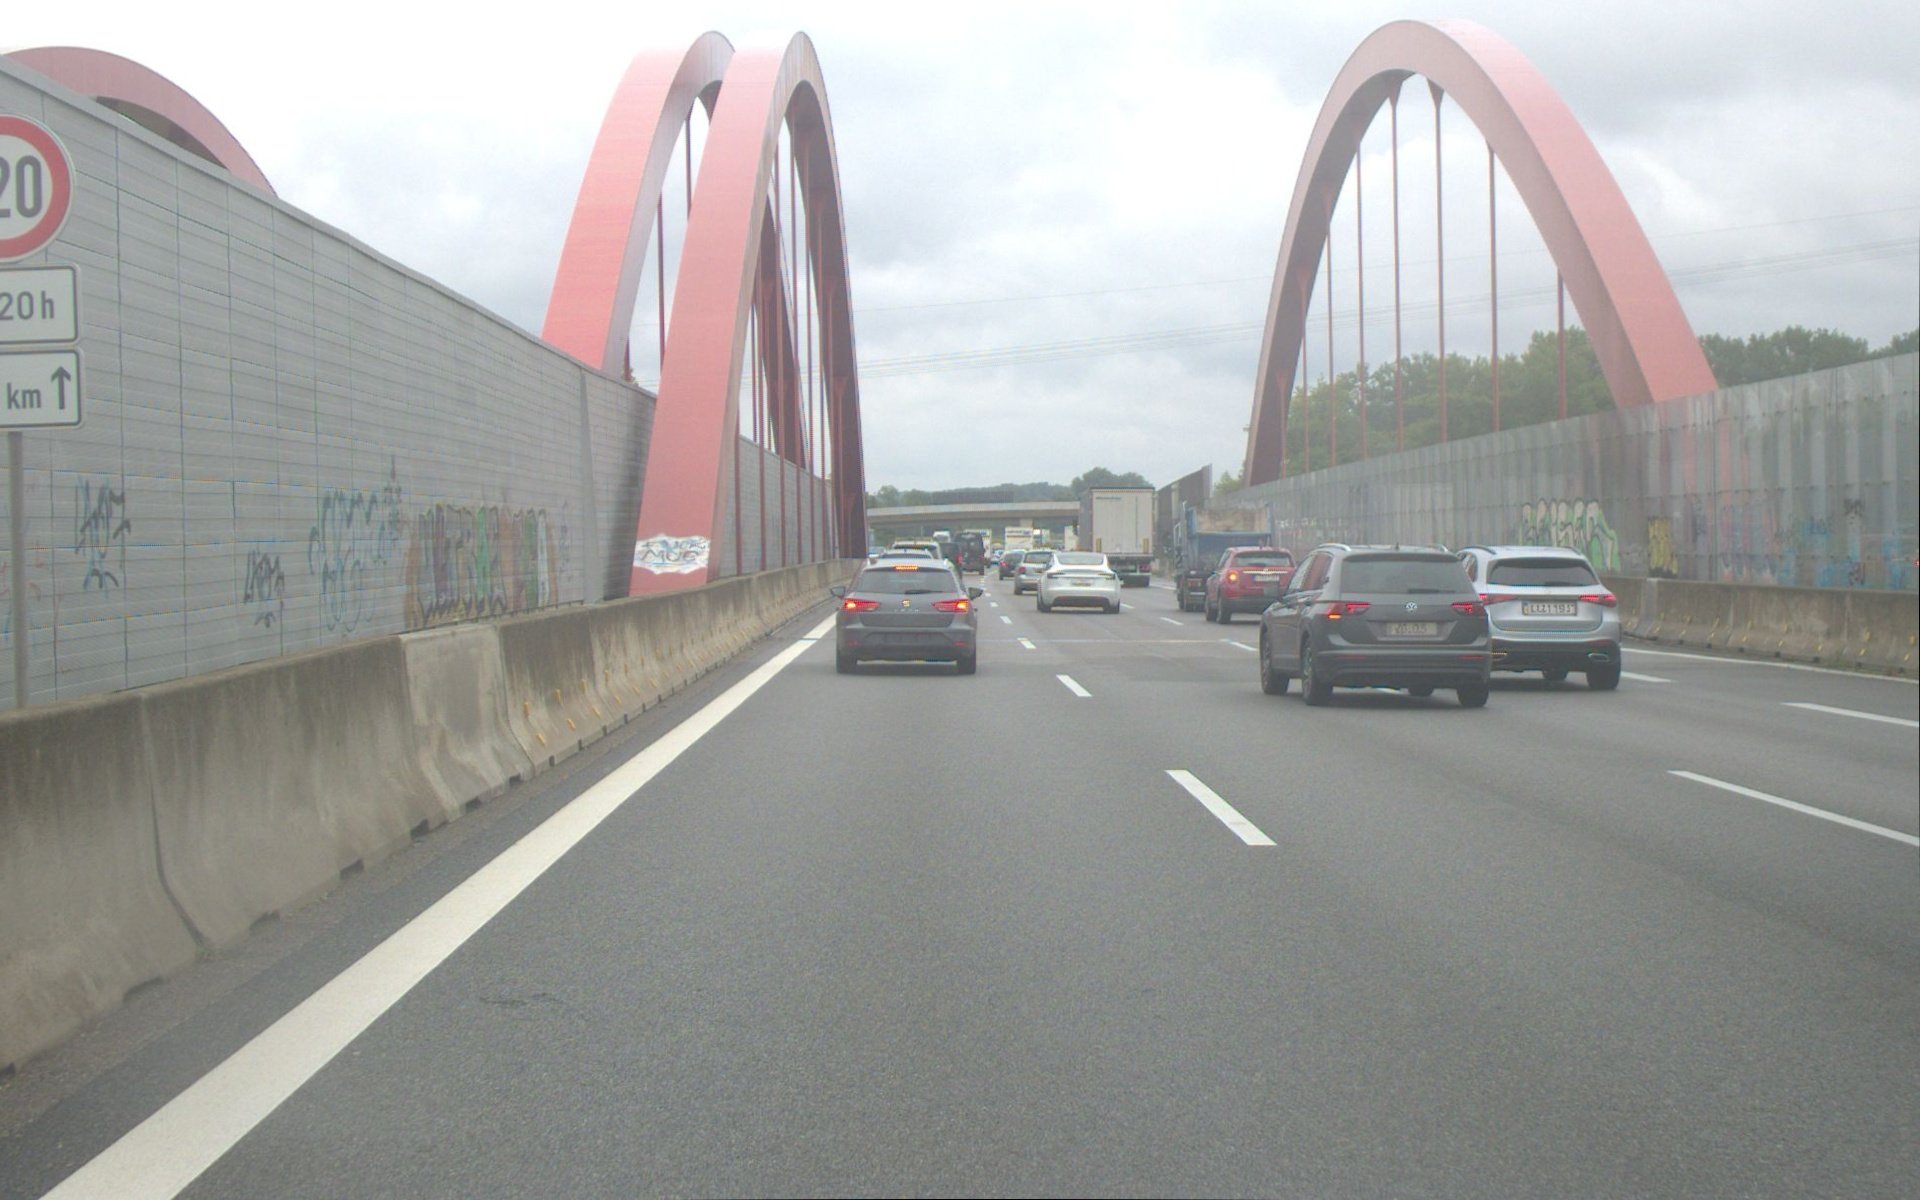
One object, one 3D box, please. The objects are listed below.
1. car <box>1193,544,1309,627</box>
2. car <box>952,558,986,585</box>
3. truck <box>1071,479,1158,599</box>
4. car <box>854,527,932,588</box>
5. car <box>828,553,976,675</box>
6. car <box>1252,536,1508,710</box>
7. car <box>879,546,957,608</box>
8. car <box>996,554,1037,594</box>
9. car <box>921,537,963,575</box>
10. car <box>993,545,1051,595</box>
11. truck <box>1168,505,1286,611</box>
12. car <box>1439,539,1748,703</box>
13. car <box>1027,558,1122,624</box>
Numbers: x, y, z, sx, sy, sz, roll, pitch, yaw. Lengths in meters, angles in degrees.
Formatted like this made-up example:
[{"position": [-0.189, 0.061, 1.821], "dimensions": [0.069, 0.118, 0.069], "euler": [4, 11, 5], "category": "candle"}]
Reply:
[{"position": [6.027, -0.313, 71.579], "dimensions": [1.957, 1.641, 4.000], "euler": [1, 1, -1], "category": "car"}, {"position": [0.541, -1.731, 209.746], "dimensions": [1.993, 1.618, 4.000], "euler": [0, 1, 2], "category": "car"}, {"position": [6.258, -2.456, 140.117], "dimensions": [3.044, 4.718, 7.680], "euler": [1, 1, -1], "category": "truck"}, {"position": [-1.816, -1.152, 91.719], "dimensions": [1.993, 1.579, 4.000], "euler": [-1, 1, -2], "category": "car"}, {"position": [-0.707, 0.137, 43.190], "dimensions": [1.764, 1.448, 4.000], "euler": [0, 1, 0], "category": "car"}, {"position": [4.222, 0.192, 35.191], "dimensions": [1.911, 1.664, 4.105], "euler": [0, 1, -3], "category": "car"}, {"position": [-0.993, -0.548, 79.709], "dimensions": [1.781, 1.401, 3.626], "euler": [0, 1, -1], "category": "car"}, {"position": [2.916, -1.338, 178.240], "dimensions": [1.993, 2.007, 4.000], "euler": [1, 1, -1], "category": "car"}, {"position": [-0.868, -2.127, 167.396], "dimensions": [1.993, 1.809, 4.000], "euler": [0, 1, -1], "category": "car"}, {"position": [1.938, -0.956, 108.572], "dimensions": [1.702, 1.538, 3.839], "euler": [0, 1, -1], "category": "car"}, {"position": [6.530, -1.057, 84.775], "dimensions": [2.361, 2.498, 6.144], "euler": [0, 1, -1], "category": "truck"}, {"position": [6.720, 0.175, 37.097], "dimensions": [1.993, 1.613, 5.329], "euler": [1, 1, -4], "category": "car"}, {"position": [2.661, -0.229, 80.723], "dimensions": [1.993, 1.481, 4.000], "euler": [0, 1, -1], "category": "car"}]
